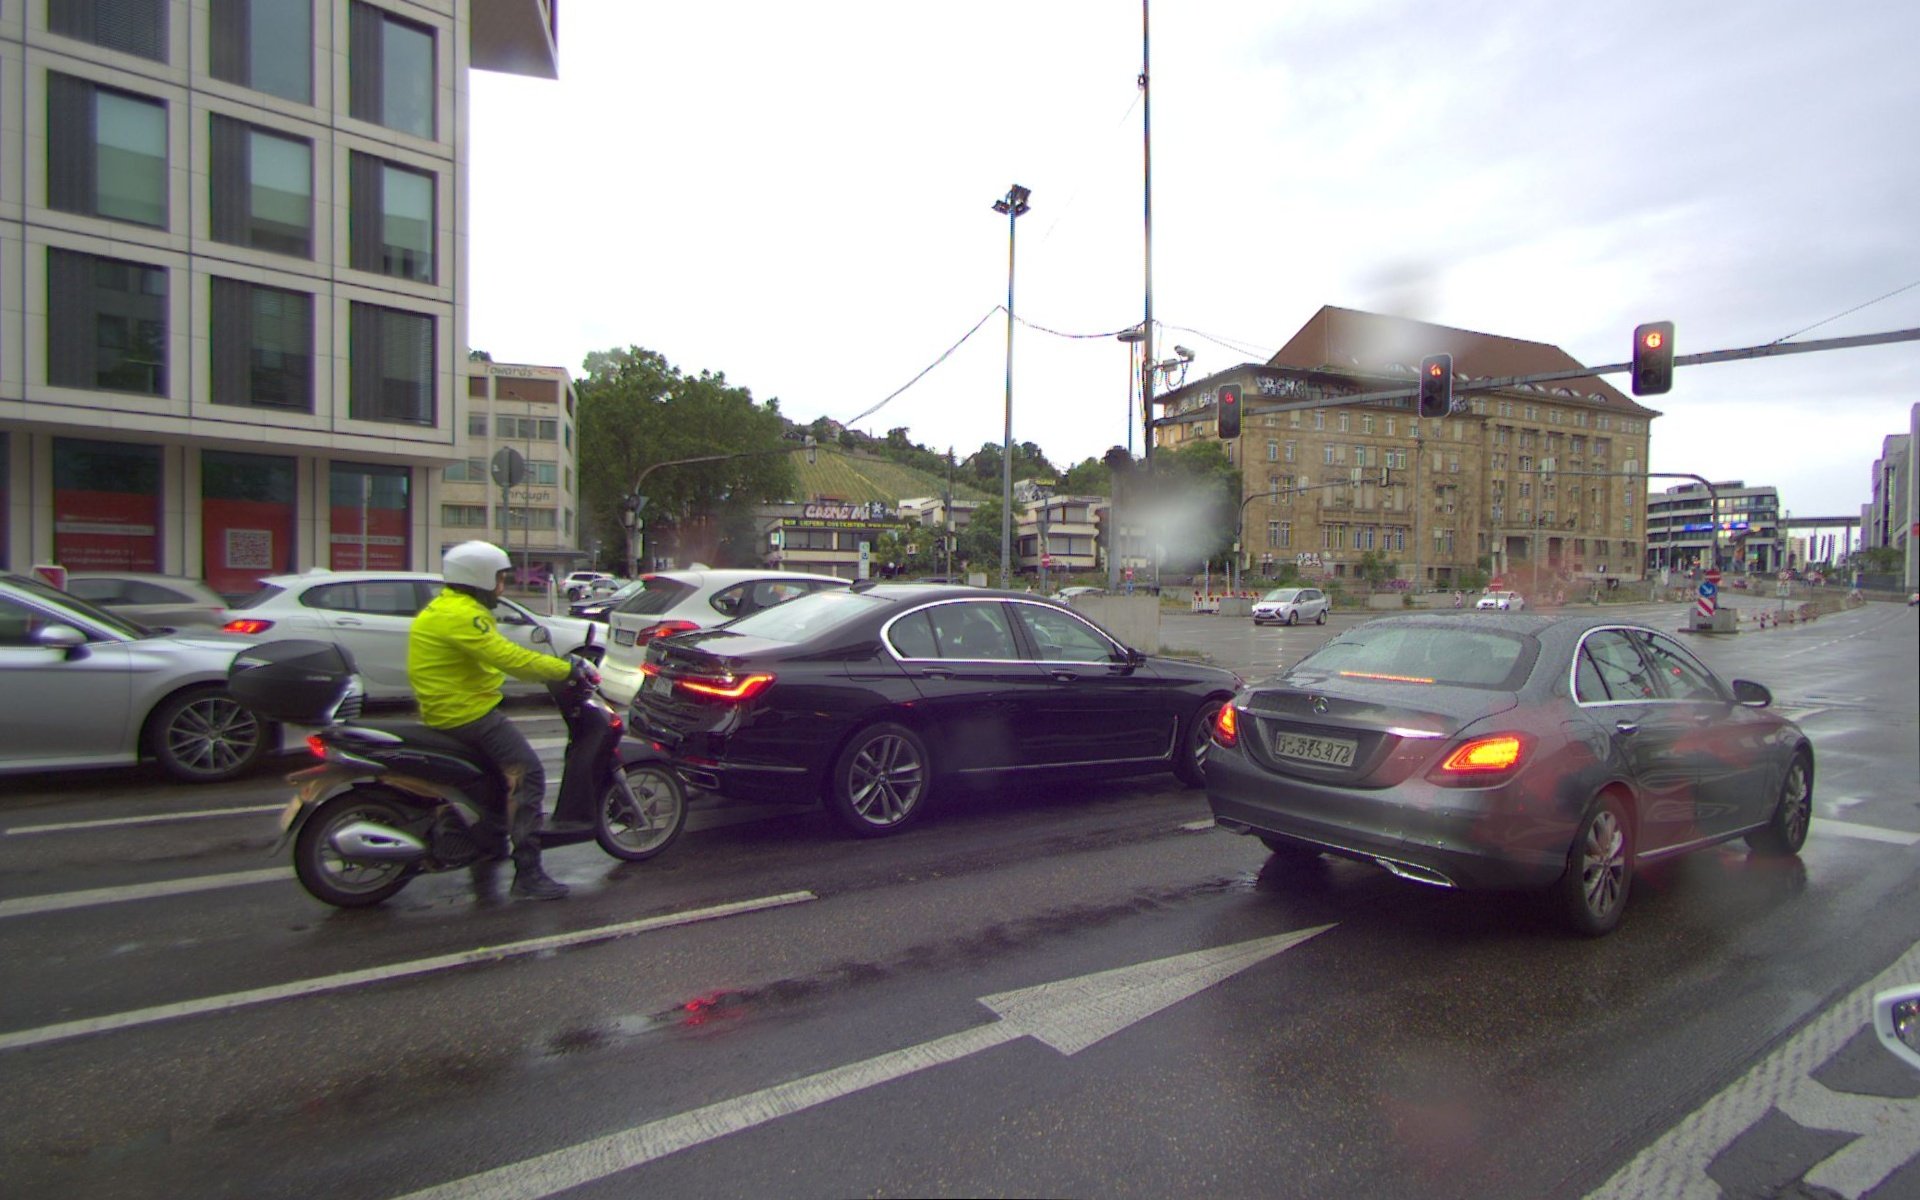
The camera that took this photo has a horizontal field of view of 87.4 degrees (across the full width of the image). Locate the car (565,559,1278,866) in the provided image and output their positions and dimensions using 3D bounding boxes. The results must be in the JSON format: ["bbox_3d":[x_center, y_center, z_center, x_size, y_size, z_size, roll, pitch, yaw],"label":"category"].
[{"bbox_3d":[-0.023,0.610,7.276,4.956,1.535,1.873,2,1,-37],"label":"car"}]

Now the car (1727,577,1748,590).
[{"bbox_3d":[133.194,-2.874,172.069,1.962,2.040,3.997,3,1,25],"label":"car"}]

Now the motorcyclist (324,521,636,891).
[{"bbox_3d":[-2.279,0.429,4.770,1.092,1.495,0.933,2,1,-41],"label":"motorcyclist"}]

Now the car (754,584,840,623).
[{"bbox_3d":[-7.540,0.157,46.299,3.939,1.617,1.668,3,1,40],"label":"car"}]

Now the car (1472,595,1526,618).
[{"bbox_3d":[33.930,0.410,63.214,3.971,1.277,1.751,2,1,-43],"label":"car"}]

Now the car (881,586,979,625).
[{"bbox_3d":[-1.475,0.255,48.796,4.318,1.684,1.996,3,1,32],"label":"car"}]

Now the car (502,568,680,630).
[{"bbox_3d":[-9.364,0.018,25.660,3.928,1.443,1.681,2,-1,-43],"label":"car"}]

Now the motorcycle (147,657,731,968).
[{"bbox_3d":[-2.341,0.832,4.733,2.277,1.002,0.933,1,1,-42],"label":"motorcycle"}]

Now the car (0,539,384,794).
[{"bbox_3d":[-6.616,0.359,6.563,4.756,1.541,1.817,2,1,-37],"label":"car"}]

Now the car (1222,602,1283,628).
[{"bbox_3d":[15.554,0.801,53.375,3.308,1.277,1.720,2,1,-45],"label":"car"}]

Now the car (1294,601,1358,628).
[{"bbox_3d":[19.516,0.765,53.489,4.052,1.277,1.607,2,1,-45],"label":"car"}]

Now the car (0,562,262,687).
[{"bbox_3d":[-12.390,0.314,14.141,1.680,1.595,3.975,3,1,45],"label":"car"}]

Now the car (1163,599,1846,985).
[{"bbox_3d":[3.387,0.739,5.890,4.443,1.421,1.771,0,2,-36],"label":"car"}]

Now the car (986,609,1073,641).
[{"bbox_3d":[3.429,1.233,49.748,3.925,1.339,1.653,3,1,26],"label":"car"}]

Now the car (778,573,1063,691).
[{"bbox_3d":[-0.594,0.490,15.575,4.021,1.621,1.776,2,1,-27],"label":"car"}]

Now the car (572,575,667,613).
[{"bbox_3d":[-17.085,-0.304,50.343,4.369,1.671,1.998,3,1,27],"label":"car"}]

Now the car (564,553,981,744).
[{"bbox_3d":[-1.841,0.448,10.594,3.970,1.637,1.717,2,1,-42],"label":"car"}]

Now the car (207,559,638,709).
[{"bbox_3d":[-5.858,0.352,11.196,3.955,1.391,1.771,2,1,-36],"label":"car"}]

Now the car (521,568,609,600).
[{"bbox_3d":[-23.623,-0.965,60.158,4.363,1.670,2.000,3,1,2],"label":"car"}]

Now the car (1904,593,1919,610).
[{"bbox_3d":[96.461,0.178,100.752,1.967,1.662,3.987,3,1,35],"label":"car"}]

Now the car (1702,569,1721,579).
[{"bbox_3d":[149.146,-5.092,199.447,1.961,1.840,3.999,3,1,22],"label":"car"}]

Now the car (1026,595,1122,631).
[{"bbox_3d":[4.530,0.529,39.521,3.974,1.277,1.607,2,1,-45],"label":"car"}]

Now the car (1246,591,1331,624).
[{"bbox_3d":[14.660,0.347,44.721,4.164,1.277,1.751,2,1,-43],"label":"car"}]
